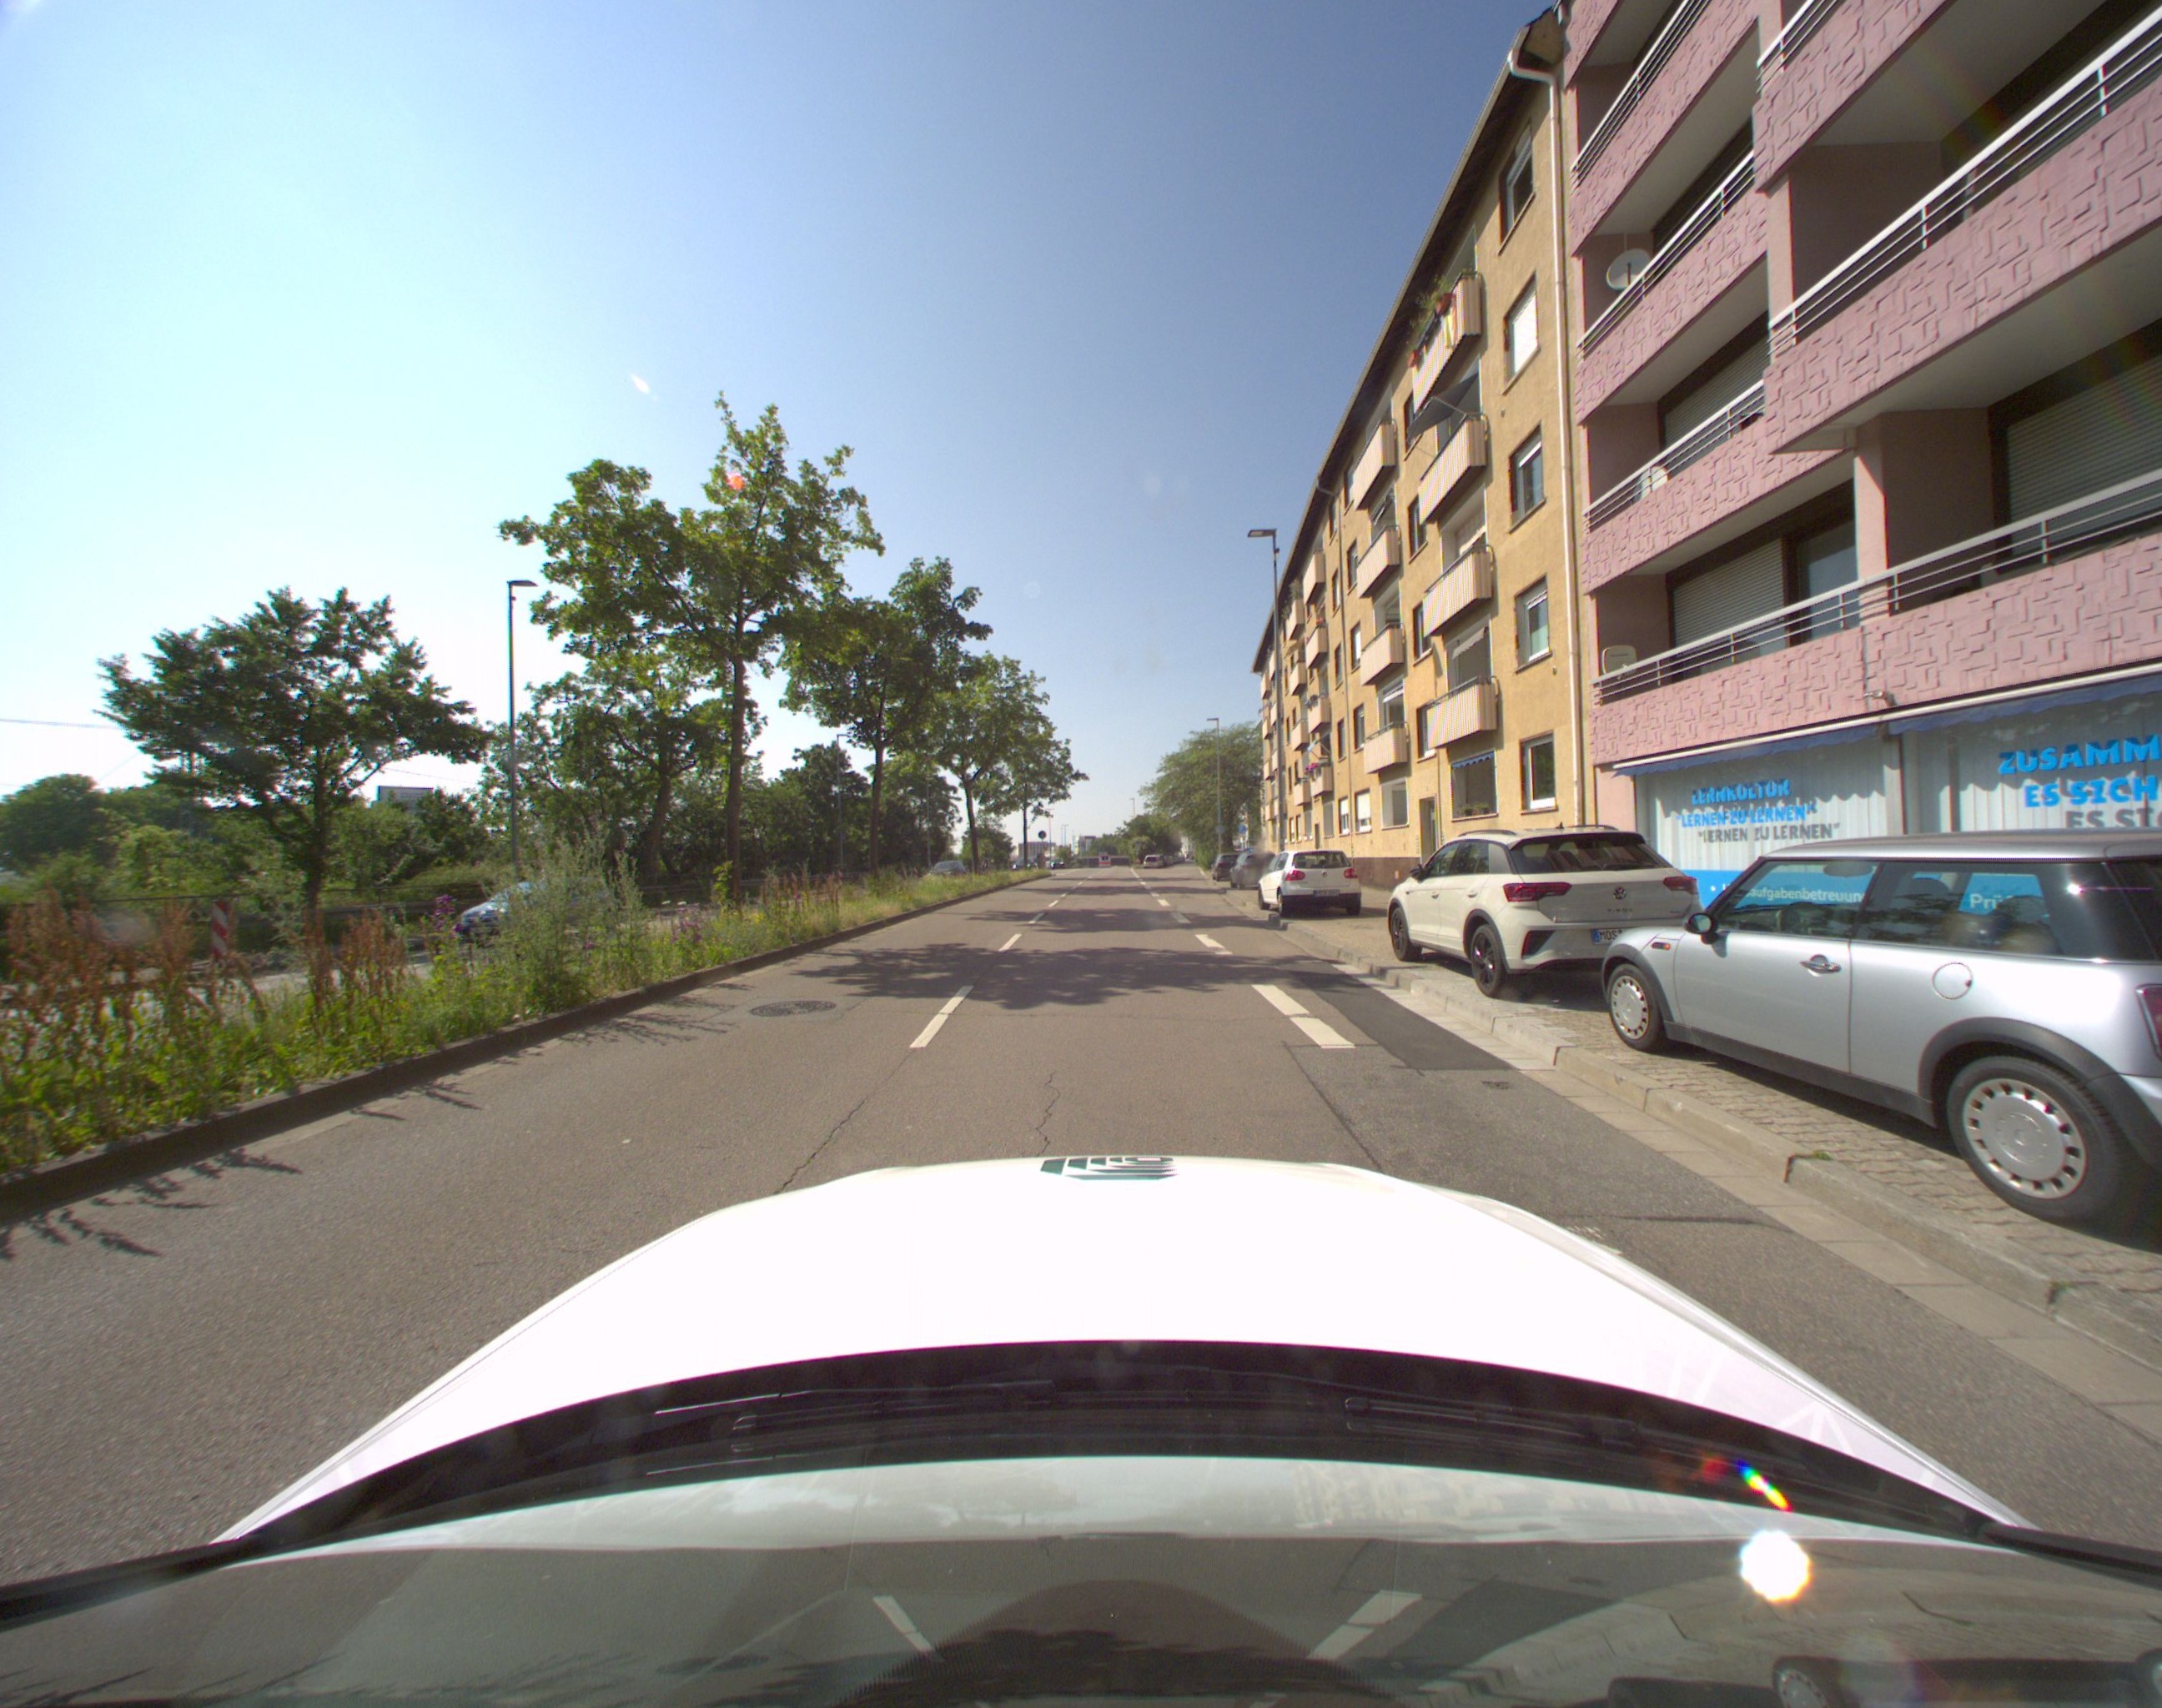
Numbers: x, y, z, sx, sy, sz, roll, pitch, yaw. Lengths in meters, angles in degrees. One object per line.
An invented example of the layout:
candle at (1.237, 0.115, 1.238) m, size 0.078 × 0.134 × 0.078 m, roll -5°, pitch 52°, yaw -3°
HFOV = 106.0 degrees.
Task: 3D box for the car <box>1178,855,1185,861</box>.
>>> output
car at (29.146, 1.189, 236.932) m, size 1.983 × 1.657 × 4.008 m, roll -2°, pitch -1°, yaw 7°

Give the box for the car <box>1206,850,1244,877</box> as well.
car at (8.520, 0.540, 48.497) m, size 1.696 × 1.514 × 4.095 m, roll -2°, pitch 0°, yaw 3°

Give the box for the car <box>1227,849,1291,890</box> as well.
car at (6.985, 0.559, 32.401) m, size 1.792 × 1.438 × 4.594 m, roll -2°, pitch 0°, yaw 4°

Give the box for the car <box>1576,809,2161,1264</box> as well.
car at (4.387, 0.544, 4.241) m, size 1.670 × 1.409 × 3.435 m, roll -4°, pitch 0°, yaw 5°

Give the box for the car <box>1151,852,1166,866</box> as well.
car at (9.514, 0.619, 100.169) m, size 1.763 × 1.579 × 4.192 m, roll -2°, pitch 0°, yaw 5°

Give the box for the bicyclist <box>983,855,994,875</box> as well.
bicyclist at (-8.893, 1.074, 78.586) m, size 0.691 × 1.832 × 1.021 m, roll -2°, pitch -1°, yaw 14°

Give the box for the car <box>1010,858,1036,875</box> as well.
car at (-5.301, 1.110, 74.837) m, size 1.755 × 1.474 × 4.089 m, roll -2°, pitch 0°, yaw 4°

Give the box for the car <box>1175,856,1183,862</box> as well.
car at (27.326, 1.302, 227.262) m, size 1.983 × 1.657 × 4.008 m, roll -2°, pitch -1°, yaw 7°

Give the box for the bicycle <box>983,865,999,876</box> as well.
bicycle at (-8.724, 1.582, 78.684) m, size 0.688 × 0.905 × 2.351 m, roll -2°, pitch 0°, yaw 14°

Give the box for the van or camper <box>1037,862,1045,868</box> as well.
van or camper at (-8.921, 2.450, 181.560) m, size 1.461 × 1.350 × 4.632 m, roll -2°, pitch 0°, yaw 2°

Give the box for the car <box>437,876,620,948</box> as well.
car at (-13.127, 1.313, 19.681) m, size 1.640 × 1.416 × 3.970 m, roll -2°, pitch 0°, yaw 0°

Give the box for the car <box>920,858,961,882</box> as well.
car at (-9.491, 1.075, 55.369) m, size 1.790 × 1.530 × 4.004 m, roll -2°, pitch 0°, yaw 4°

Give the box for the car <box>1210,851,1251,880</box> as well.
car at (7.932, 0.580, 43.562) m, size 1.703 × 1.462 × 4.261 m, roll -2°, pitch 0°, yaw 5°

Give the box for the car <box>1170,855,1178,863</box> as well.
car at (19.923, 1.048, 174.565) m, size 1.654 × 1.509 × 4.018 m, roll 0°, pitch 0°, yaw 8°

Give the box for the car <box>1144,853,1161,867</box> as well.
car at (7.970, 0.677, 90.327) m, size 1.610 × 1.505 × 3.469 m, roll -2°, pitch 0°, yaw 8°

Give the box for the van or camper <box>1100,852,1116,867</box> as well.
van or camper at (5.104, 1.020, 152.609) m, size 2.283 × 2.789 × 5.583 m, roll -1°, pitch 0°, yaw 8°

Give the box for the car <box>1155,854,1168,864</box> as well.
car at (11.516, 0.692, 115.922) m, size 1.654 × 1.473 × 3.798 m, roll 0°, pitch 0°, yaw 8°

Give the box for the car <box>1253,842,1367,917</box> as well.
car at (5.273, 0.535, 19.301) m, size 1.748 × 1.506 × 4.132 m, roll -2°, pitch 0°, yaw 4°

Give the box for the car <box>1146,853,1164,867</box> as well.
car at (8.658, 0.669, 94.889) m, size 1.711 × 1.505 × 4.142 m, roll -2°, pitch 0°, yaw 8°

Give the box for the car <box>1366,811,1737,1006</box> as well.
car at (4.639, 0.455, 8.908) m, size 1.728 × 1.541 × 4.358 m, roll -3°, pitch 0°, yaw 4°

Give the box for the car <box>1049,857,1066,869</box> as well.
car at (-3.503, 1.368, 121.609) m, size 1.985 × 1.734 × 4.734 m, roll -2°, pitch 0°, yaw 3°
